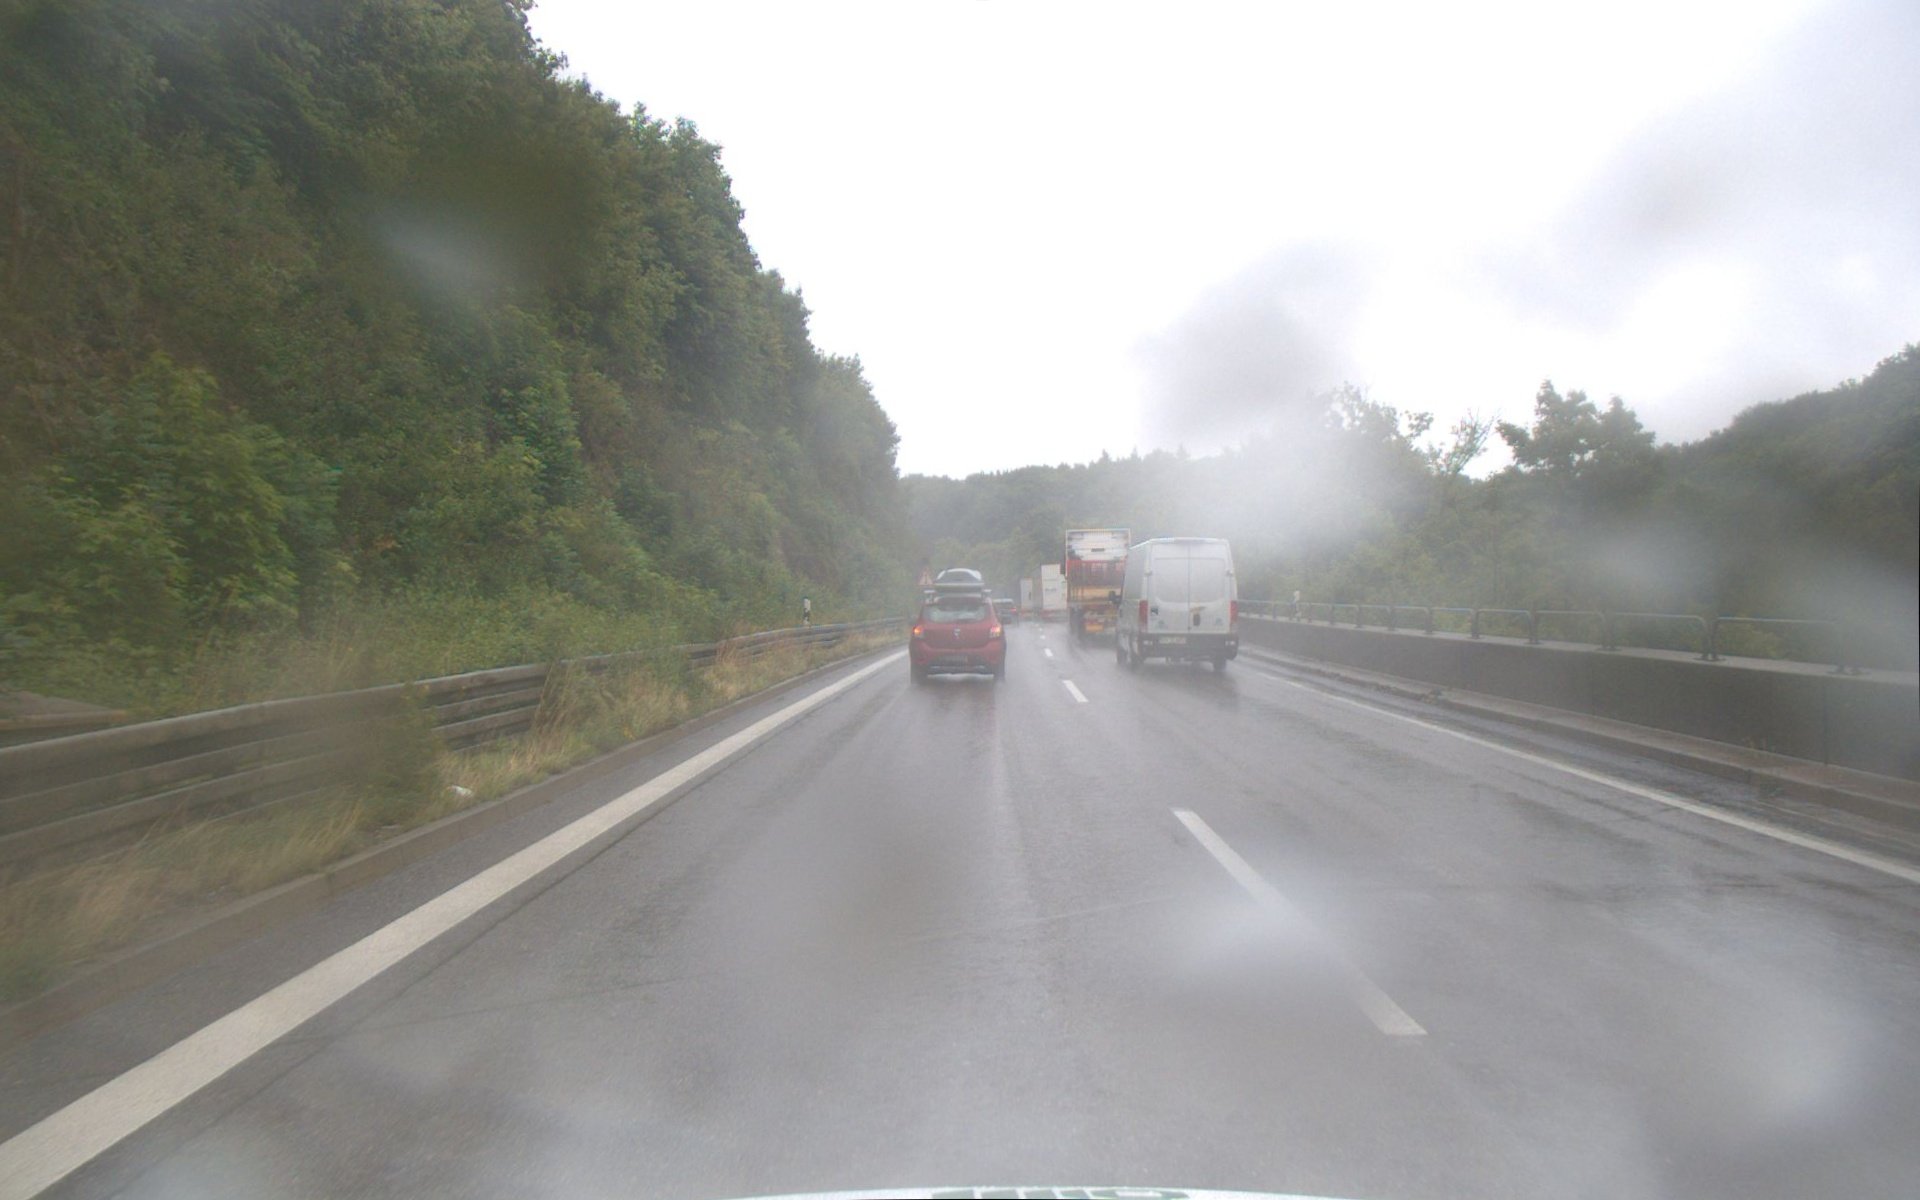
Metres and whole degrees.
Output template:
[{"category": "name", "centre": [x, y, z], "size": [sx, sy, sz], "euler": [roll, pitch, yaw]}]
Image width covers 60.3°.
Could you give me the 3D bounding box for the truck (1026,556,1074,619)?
[{"category": "truck", "centre": [6.402, -0.836, 118.944], "size": [2.632, 4.165, 9.314], "euler": [-3, 0, 0]}]

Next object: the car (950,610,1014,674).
[{"category": "car", "centre": [0.692, 1.254, 50.562], "size": [1.795, 1.744, 3.646], "euler": [-3, 0, 1]}]

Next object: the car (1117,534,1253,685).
[{"category": "car", "centre": [4.602, 0.179, 34.960], "size": [2.160, 2.843, 7.384], "euler": [0, 0, 2]}]

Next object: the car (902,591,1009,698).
[{"category": "car", "centre": [-0.074, 0.760, 30.166], "size": [1.722, 1.714, 4.000], "euler": [-3, 0, 0]}]

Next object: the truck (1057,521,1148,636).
[{"category": "truck", "centre": [5.283, -0.767, 62.263], "size": [3.152, 4.047, 5.441], "euler": [-1, 0, 3]}]

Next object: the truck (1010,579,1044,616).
[{"category": "truck", "centre": [6.250, -0.279, 155.788], "size": [2.998, 3.370, 8.071], "euler": [0, 0, 1]}]

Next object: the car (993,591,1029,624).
[{"category": "car", "centre": [2.844, 0.434, 93.479], "size": [1.836, 1.735, 3.888], "euler": [-3, 0, 0]}]

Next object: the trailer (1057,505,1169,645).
[{"category": "trailer", "centre": [4.929, -0.745, 55.859], "size": [3.151, 4.068, 13.529], "euler": [-1, 0, 3]}]
